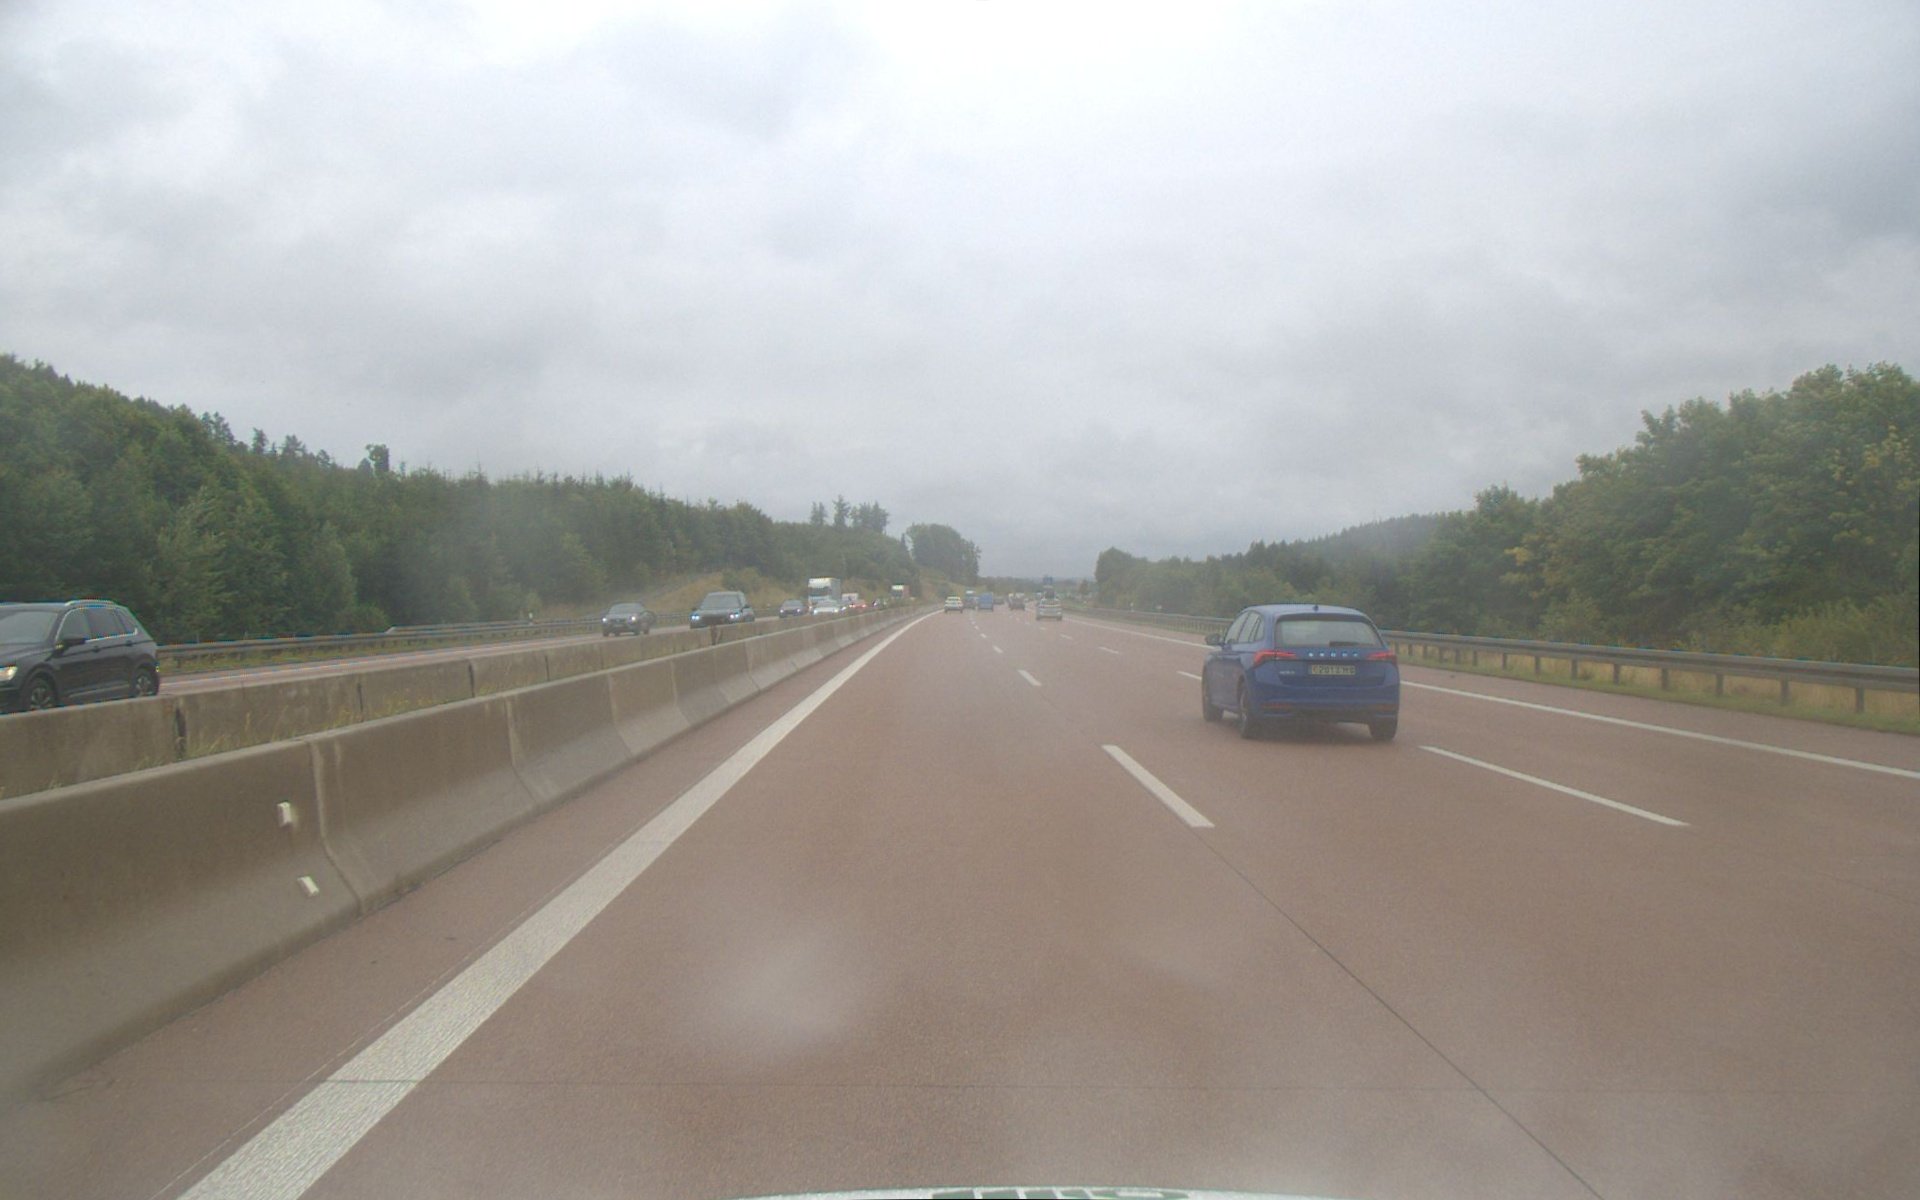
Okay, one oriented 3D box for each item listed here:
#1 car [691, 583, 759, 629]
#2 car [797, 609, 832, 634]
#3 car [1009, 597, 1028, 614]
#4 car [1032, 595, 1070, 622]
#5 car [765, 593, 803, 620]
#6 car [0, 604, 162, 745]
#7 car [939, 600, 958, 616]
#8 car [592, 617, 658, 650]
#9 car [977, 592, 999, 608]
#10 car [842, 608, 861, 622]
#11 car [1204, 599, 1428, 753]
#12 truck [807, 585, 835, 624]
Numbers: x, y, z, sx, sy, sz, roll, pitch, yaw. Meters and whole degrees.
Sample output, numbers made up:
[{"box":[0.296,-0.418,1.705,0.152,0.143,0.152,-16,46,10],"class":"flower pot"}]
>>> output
[{"box":[-8.698,0.198,61.557,1.827,1.578,4.807,1,0,-1],"class":"car"},{"box":[-9.893,1.478,112.454,1.953,1.587,4.945,1,-1,0],"class":"car"},{"box":[7.270,0.726,205.983,1.953,2.049,3.998,1,-1,-2],"class":"car"},{"box":[6.548,0.640,119.244,2.276,1.780,4.874,1,-1,-2],"class":"car"},{"box":[-13.342,0.509,125.747,2.234,1.894,5.727,1,-1,0],"class":"car"},{"box":[-11.876,0.898,20.792,1.681,1.610,4.314,-1,-1,-1],"class":"car"},{"box":[-1.137,0.811,165.669,1.836,1.470,4.875,1,-1,-1],"class":"car"},{"box":[-16.897,1.694,83.689,1.952,1.587,5.745,1,-1,1],"class":"car"},{"box":[3.230,0.035,191.067,2.276,1.780,4.874,1,-1,-2],"class":"car"},{"box":[-12.699,1.800,194.057,1.953,1.572,4.279,-2,-1,0],"class":"car"},{"box":[4.053,0.841,19.477,1.735,1.591,4.146,1,-1,0],"class":"car"},{"box":[-16.014,0.562,190.817,2.712,4.249,6.000,-1,-1,0],"class":"truck"}]
